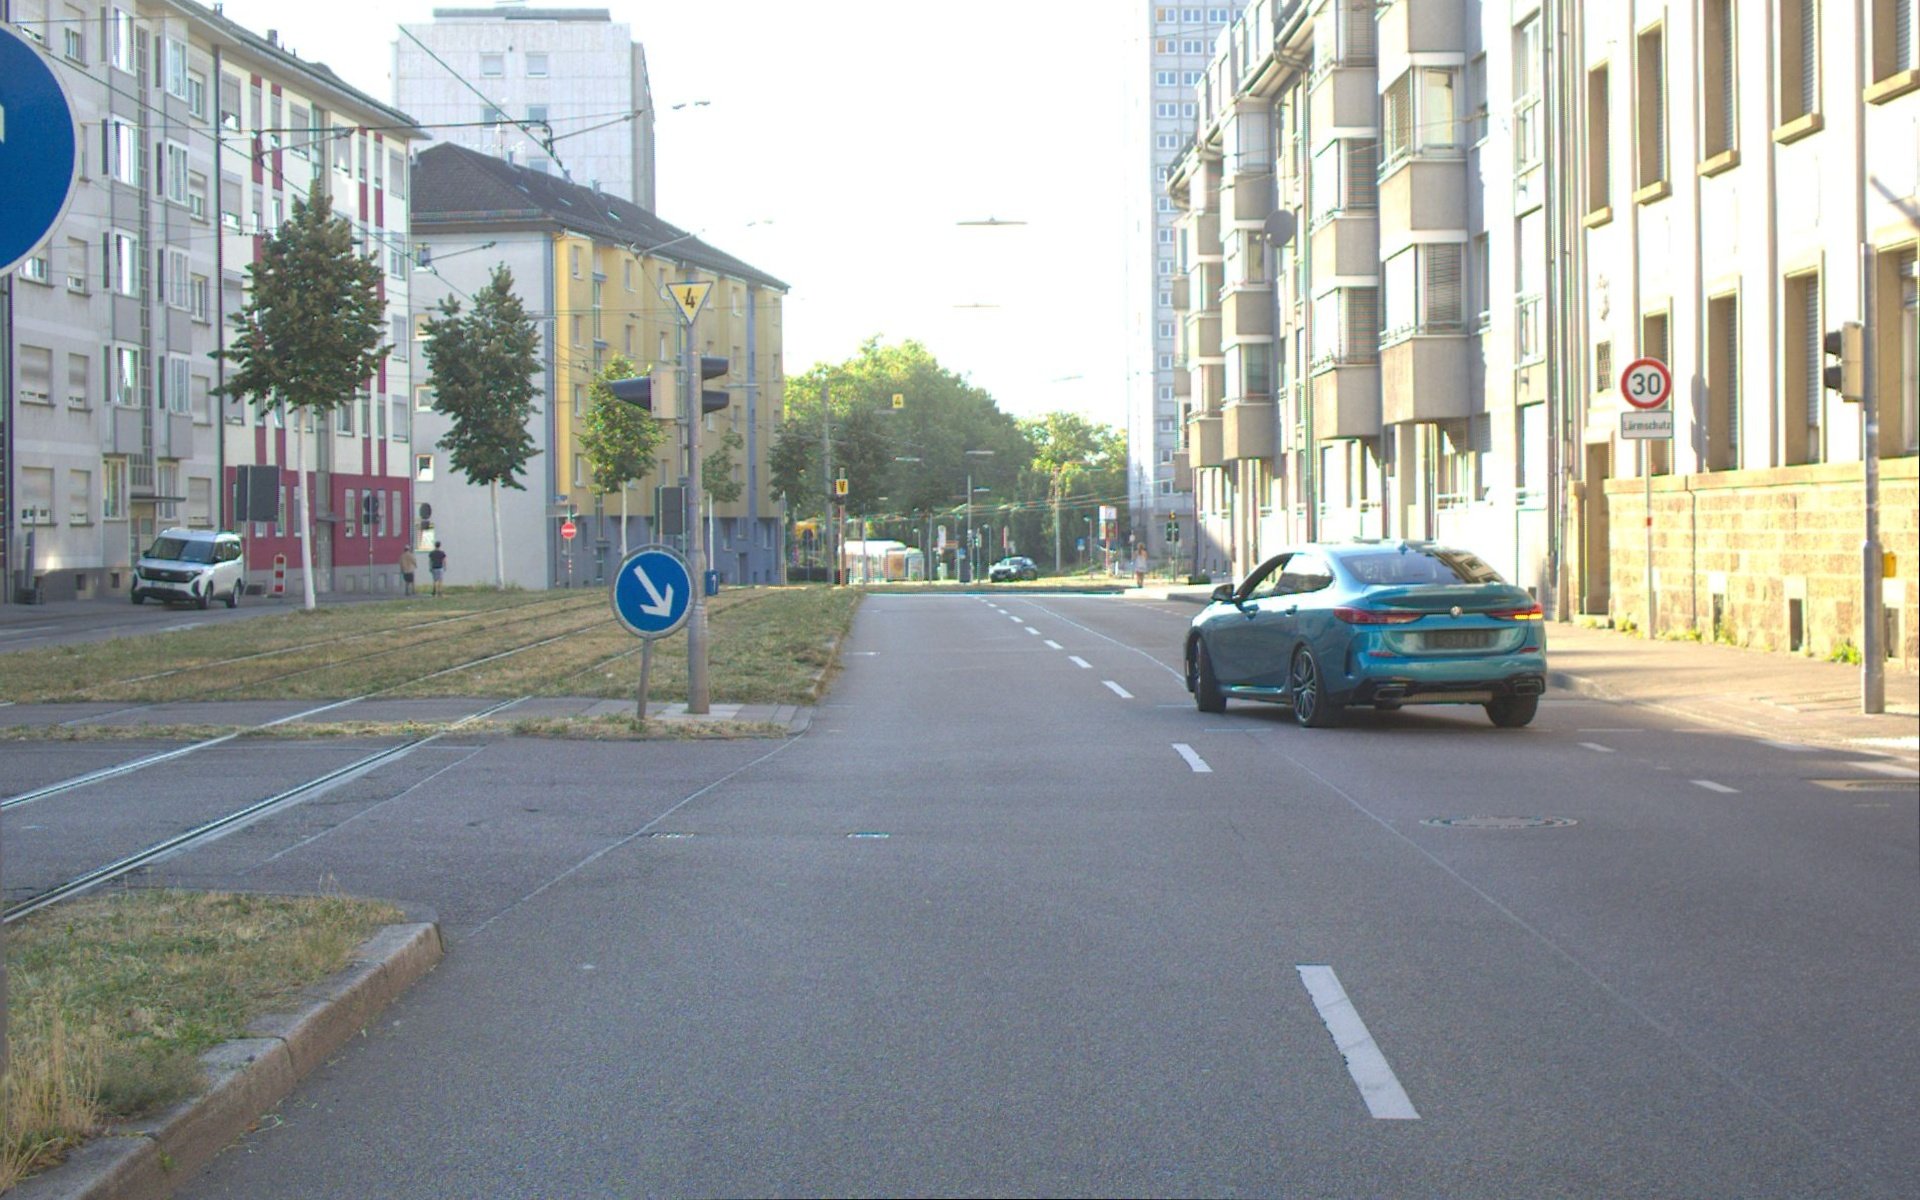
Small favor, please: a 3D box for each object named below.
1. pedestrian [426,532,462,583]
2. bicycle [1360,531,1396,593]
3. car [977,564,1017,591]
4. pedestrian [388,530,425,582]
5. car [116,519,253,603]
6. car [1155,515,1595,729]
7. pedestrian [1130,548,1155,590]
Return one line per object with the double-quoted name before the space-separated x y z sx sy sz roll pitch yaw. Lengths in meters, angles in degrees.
"pedestrian" -17.077 -1.396 113.878 0.962 1.664 1.011 1 0 5
"bicycle" 7.525 -0.683 61.931 0.383 1.092 1.504 -1 1 -3
"car" 2.341 -1.406 217.600 1.898 1.628 4.746 -1 1 8
"pedestrian" -18.228 -1.457 113.173 0.962 1.688 1.011 1 0 5
"car" -18.362 -0.924 81.584 1.994 1.918 4.541 1 1 3
"car" 3.171 0.143 27.297 1.993 1.549 4.395 1 1 -14
"pedestrian" 5.442 -0.928 102.453 0.691 1.230 0.736 1 0 0
